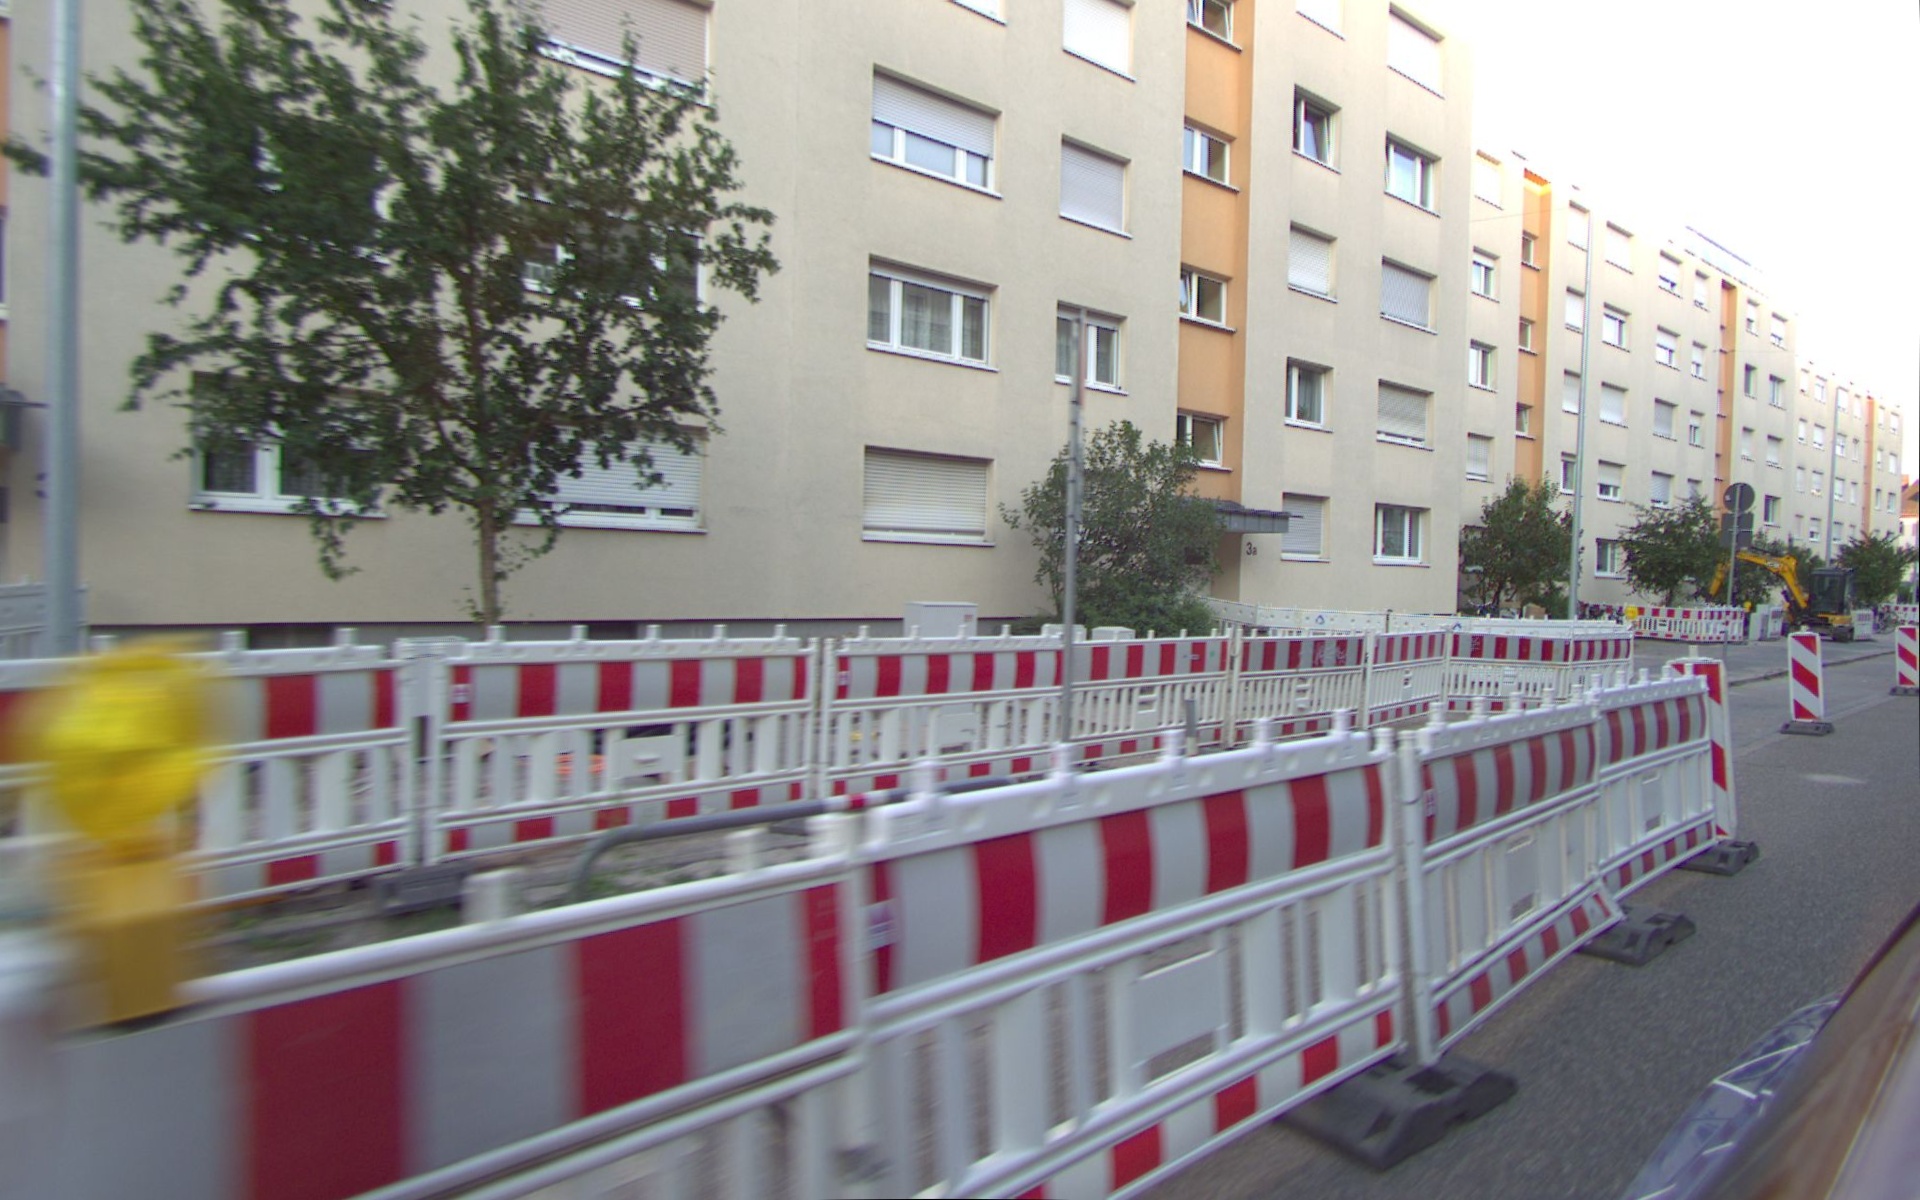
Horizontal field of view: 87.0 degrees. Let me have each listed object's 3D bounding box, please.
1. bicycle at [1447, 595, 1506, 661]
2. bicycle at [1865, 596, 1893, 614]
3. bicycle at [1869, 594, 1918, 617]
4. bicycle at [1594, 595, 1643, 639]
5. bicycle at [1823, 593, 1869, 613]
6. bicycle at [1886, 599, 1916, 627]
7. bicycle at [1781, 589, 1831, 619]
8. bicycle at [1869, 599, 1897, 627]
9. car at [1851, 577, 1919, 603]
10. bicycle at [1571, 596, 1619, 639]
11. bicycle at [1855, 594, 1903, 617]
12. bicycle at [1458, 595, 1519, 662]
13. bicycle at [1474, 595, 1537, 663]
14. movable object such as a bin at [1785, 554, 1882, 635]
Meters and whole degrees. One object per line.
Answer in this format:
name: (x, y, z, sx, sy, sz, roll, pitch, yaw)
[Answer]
bicycle: (10.126, 0.527, 19.805, 1.795, 1.237, 0.398, 0, 1, -42)
bicycle: (51.795, 0.281, 57.072, 0.551, 0.875, 1.604, 6, 6, 22)
bicycle: (51.317, 0.317, 55.657, 0.548, 1.034, 1.817, -1, 7, -38)
bicycle: (18.268, 0.461, 28.044, 1.783, 1.186, 0.557, 0, 1, -37)
bicycle: (49.555, 0.167, 56.604, 1.788, 0.931, 0.557, 5, 5, 10)
bicycle: (41.634, 0.577, 44.800, 0.553, 1.186, 1.797, 1, 1, 30)
bicycle: (35.969, 0.172, 43.042, 1.593, 1.237, 0.477, 2, 1, 45)
bicycle: (40.931, 0.576, 44.885, 0.624, 1.186, 1.795, 1, 1, 33)
car: (81.024, -0.895, 87.913, 2.245, 2.156, 5.042, 0, 2, -32)
bicycle: (18.107, 0.487, 28.863, 1.783, 1.186, 0.557, 0, 1, -37)
bicycle: (49.782, 0.286, 54.843, 0.546, 0.998, 1.762, 0, 7, -30)
bicycle: (10.234, 0.531, 19.567, 1.878, 1.237, 0.398, 0, 1, -42)
bicycle: (10.475, 0.533, 19.411, 1.878, 1.237, 0.452, 0, 1, -42)
movable object such as a bin: (30.960, -0.211, 35.865, 2.836, 2.726, 1.940, 0, 1, -35)
